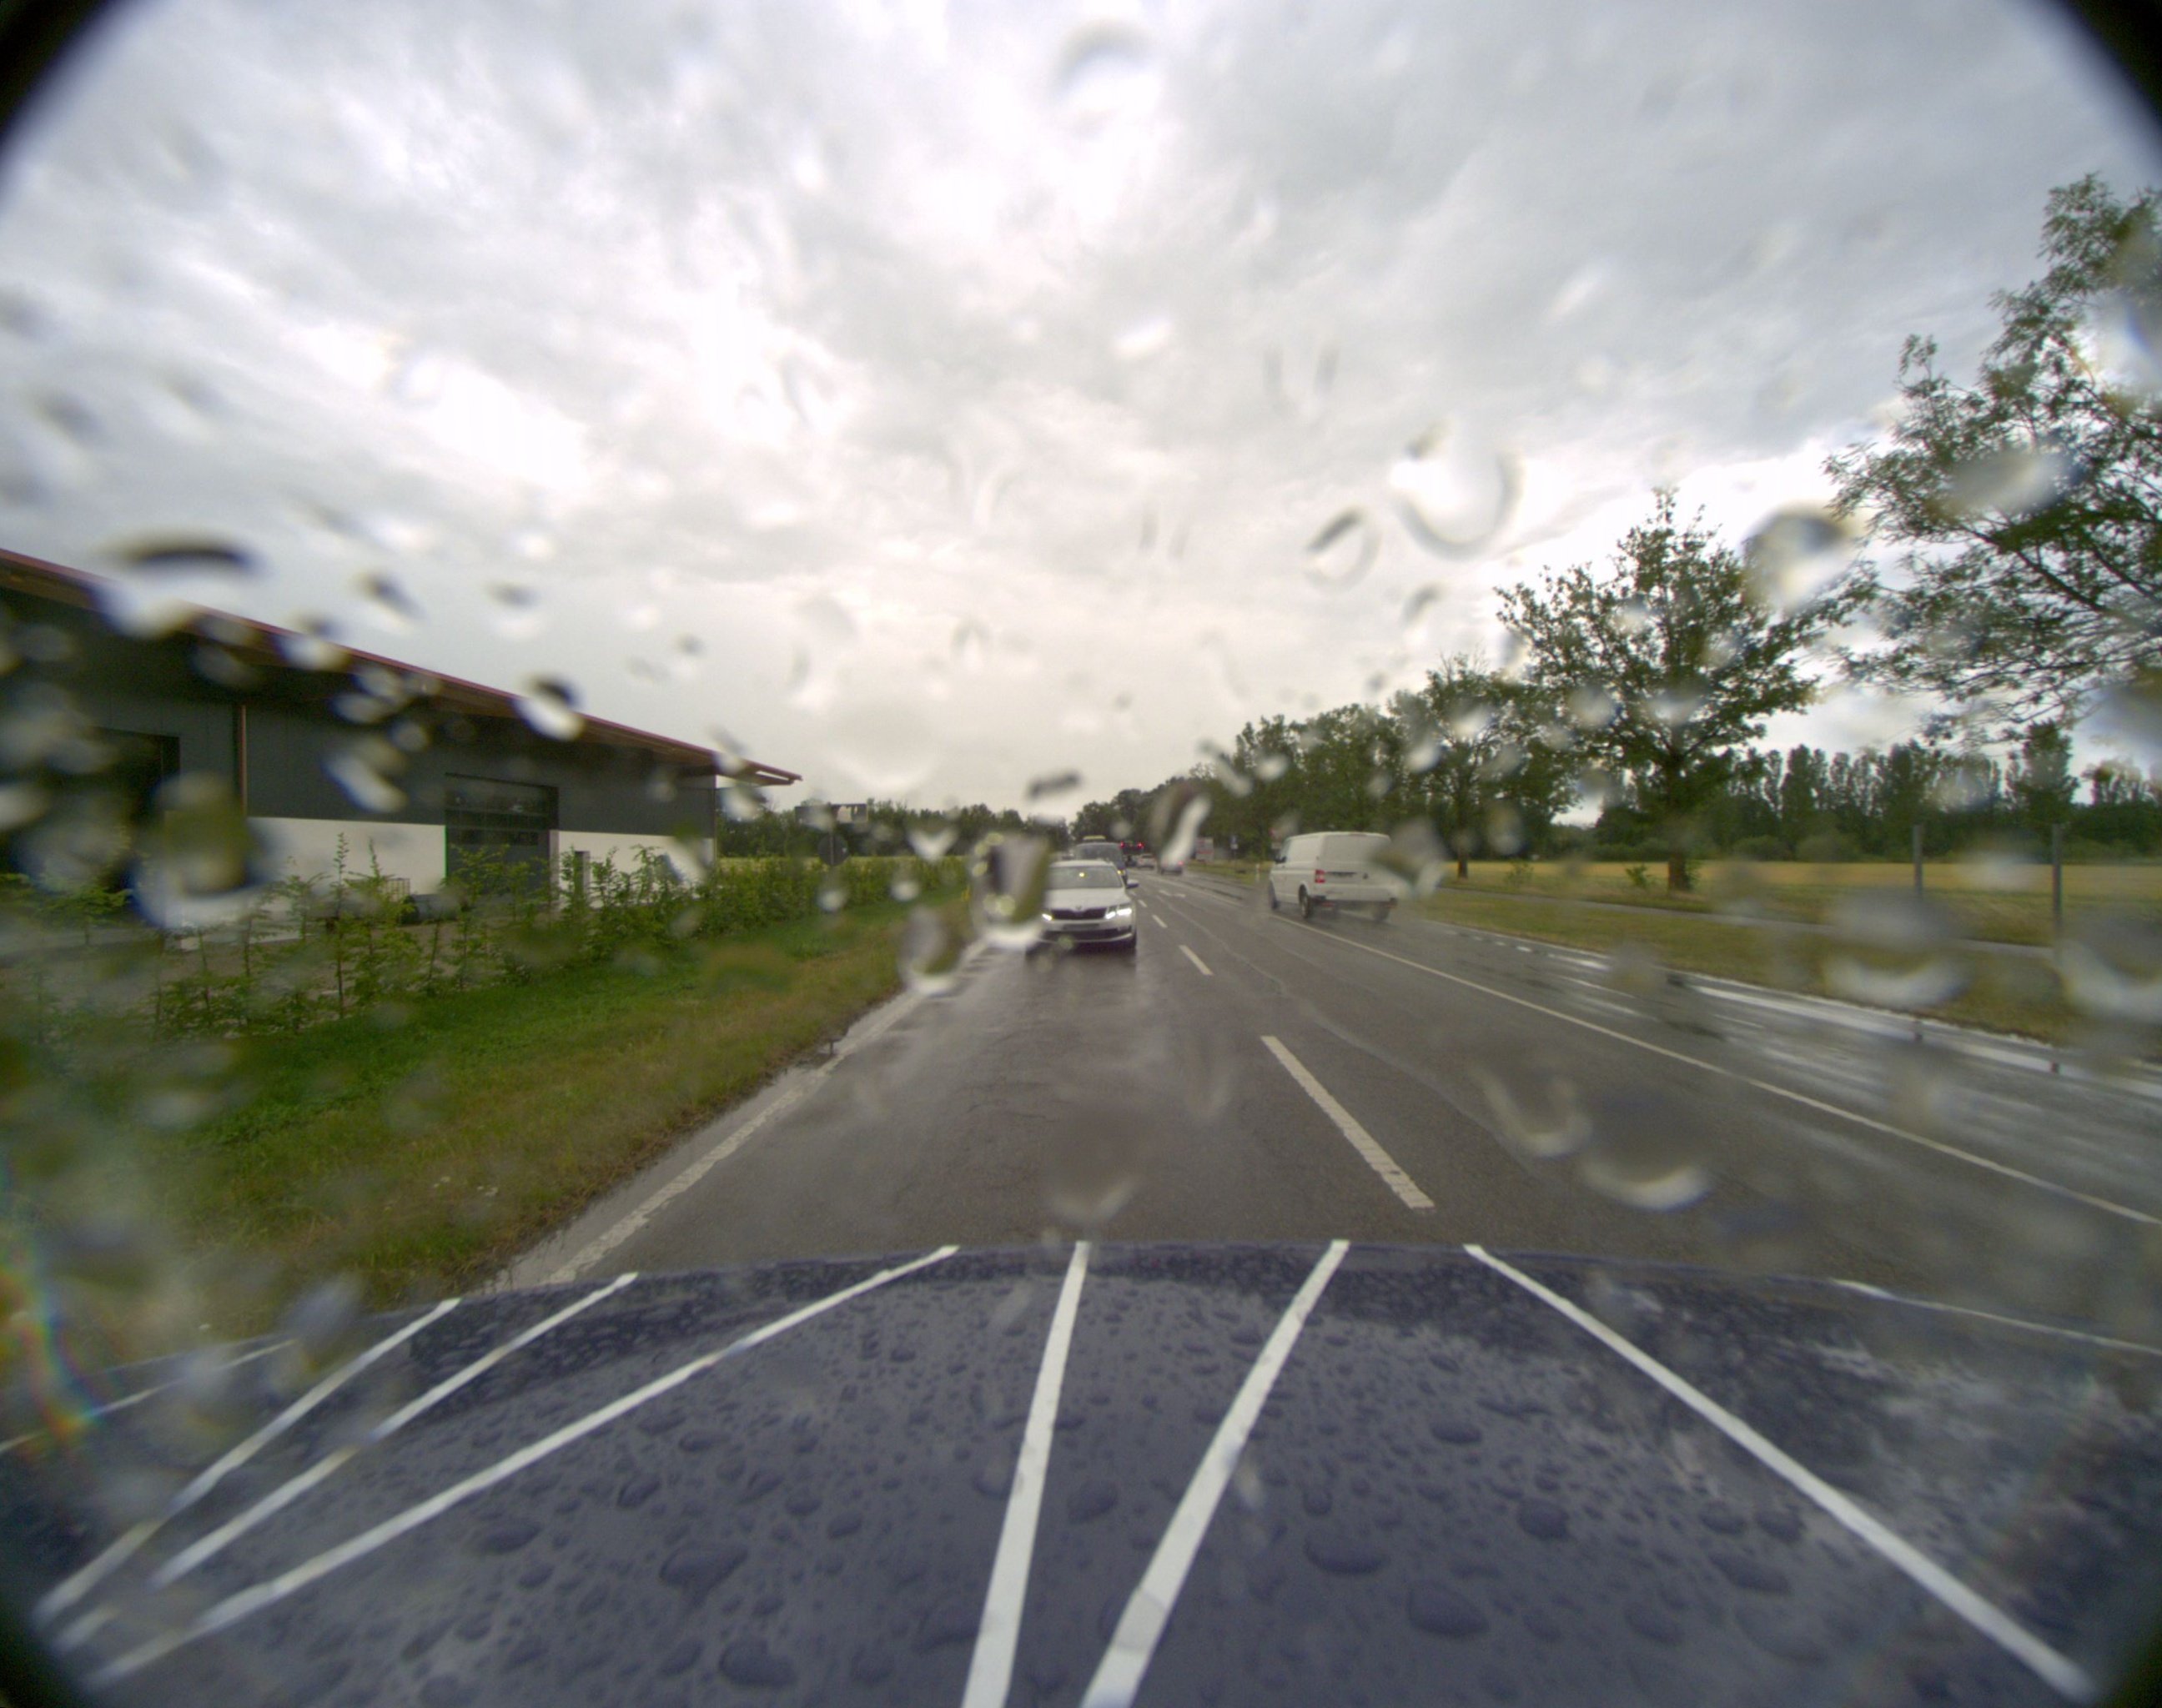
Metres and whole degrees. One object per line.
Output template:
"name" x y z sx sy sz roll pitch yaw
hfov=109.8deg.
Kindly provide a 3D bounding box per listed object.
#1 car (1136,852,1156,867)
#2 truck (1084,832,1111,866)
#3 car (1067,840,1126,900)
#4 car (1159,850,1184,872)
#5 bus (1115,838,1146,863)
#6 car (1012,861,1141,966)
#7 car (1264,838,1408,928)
"car" 6.432 0.522 75.141 1.672 1.442 3.461 2 0 1
"truck" 1.983 -0.590 90.298 2.931 3.828 14.120 0 0 1
"car" 0.549 0.510 26.782 1.892 1.939 4.000 0 1 1
"car" 6.644 0.484 56.032 1.504 1.521 3.301 2 1 2
"bus" 6.011 -0.459 93.527 2.958 2.895 12.473 0 1 0
"car" -0.020 0.900 13.487 1.843 1.379 4.569 -2 1 1
"car" 5.921 0.591 18.330 1.921 1.851 4.684 1 1 1
